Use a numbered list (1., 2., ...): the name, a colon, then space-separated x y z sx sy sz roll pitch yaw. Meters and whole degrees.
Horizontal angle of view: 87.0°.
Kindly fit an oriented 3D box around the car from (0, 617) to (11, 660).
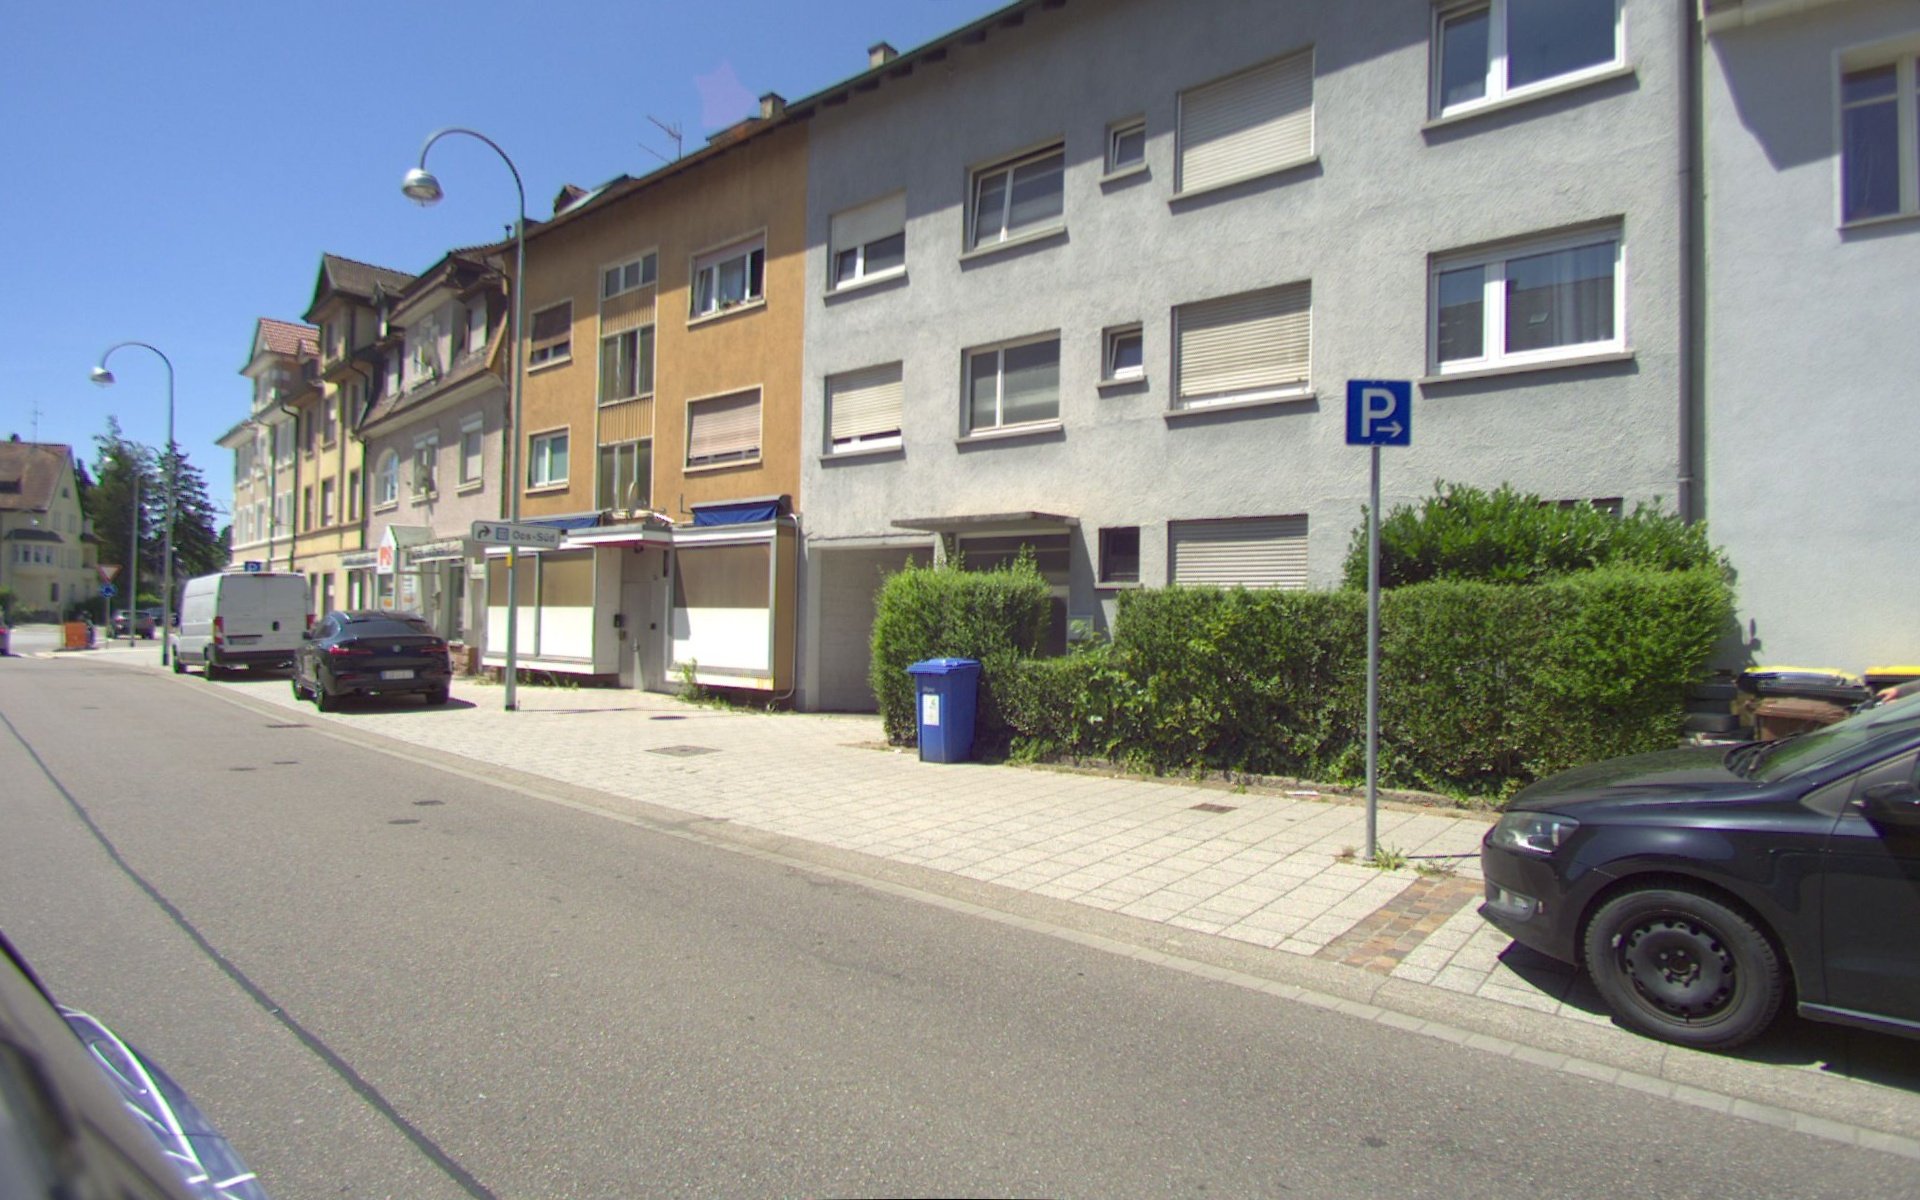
1. car: -34.221 1.306 35.145 1.711 1.422 4.003 4 -4 -44

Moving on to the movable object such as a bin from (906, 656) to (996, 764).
1. movable object such as a bin: -0.089 1.119 10.553 0.652 1.056 0.666 -1 -3 40

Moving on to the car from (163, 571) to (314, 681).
1. car: -18.421 0.600 25.706 6.120 2.468 2.095 -1 0 45

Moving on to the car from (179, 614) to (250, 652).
1. car: -32.024 1.376 43.421 1.773 1.514 4.950 1 -1 -44

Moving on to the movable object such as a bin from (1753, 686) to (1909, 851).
1. movable object such as a bin: 5.460 1.024 6.365 0.705 0.919 0.489 -1 -3 41

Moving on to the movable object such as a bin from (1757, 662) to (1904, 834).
1. movable object such as a bin: 5.764 0.947 6.721 0.705 1.038 0.462 -1 -3 41

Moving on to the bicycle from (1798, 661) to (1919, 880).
1. bicycle: 5.301 0.885 5.179 1.514 1.092 0.550 -1 -3 44

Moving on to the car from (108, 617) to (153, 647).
1. car: -45.758 1.741 55.798 1.773 1.500 4.396 1 0 -41

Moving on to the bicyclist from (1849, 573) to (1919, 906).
1. bicyclist: 5.221 0.708 5.273 0.834 1.672 0.774 -1 -2 39

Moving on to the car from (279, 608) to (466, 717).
1. car: -10.486 0.988 17.850 2.059 1.627 5.117 0 -1 -40

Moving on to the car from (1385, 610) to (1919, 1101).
1. car: 3.918 0.789 3.429 1.767 1.470 4.200 -2 0 -45
